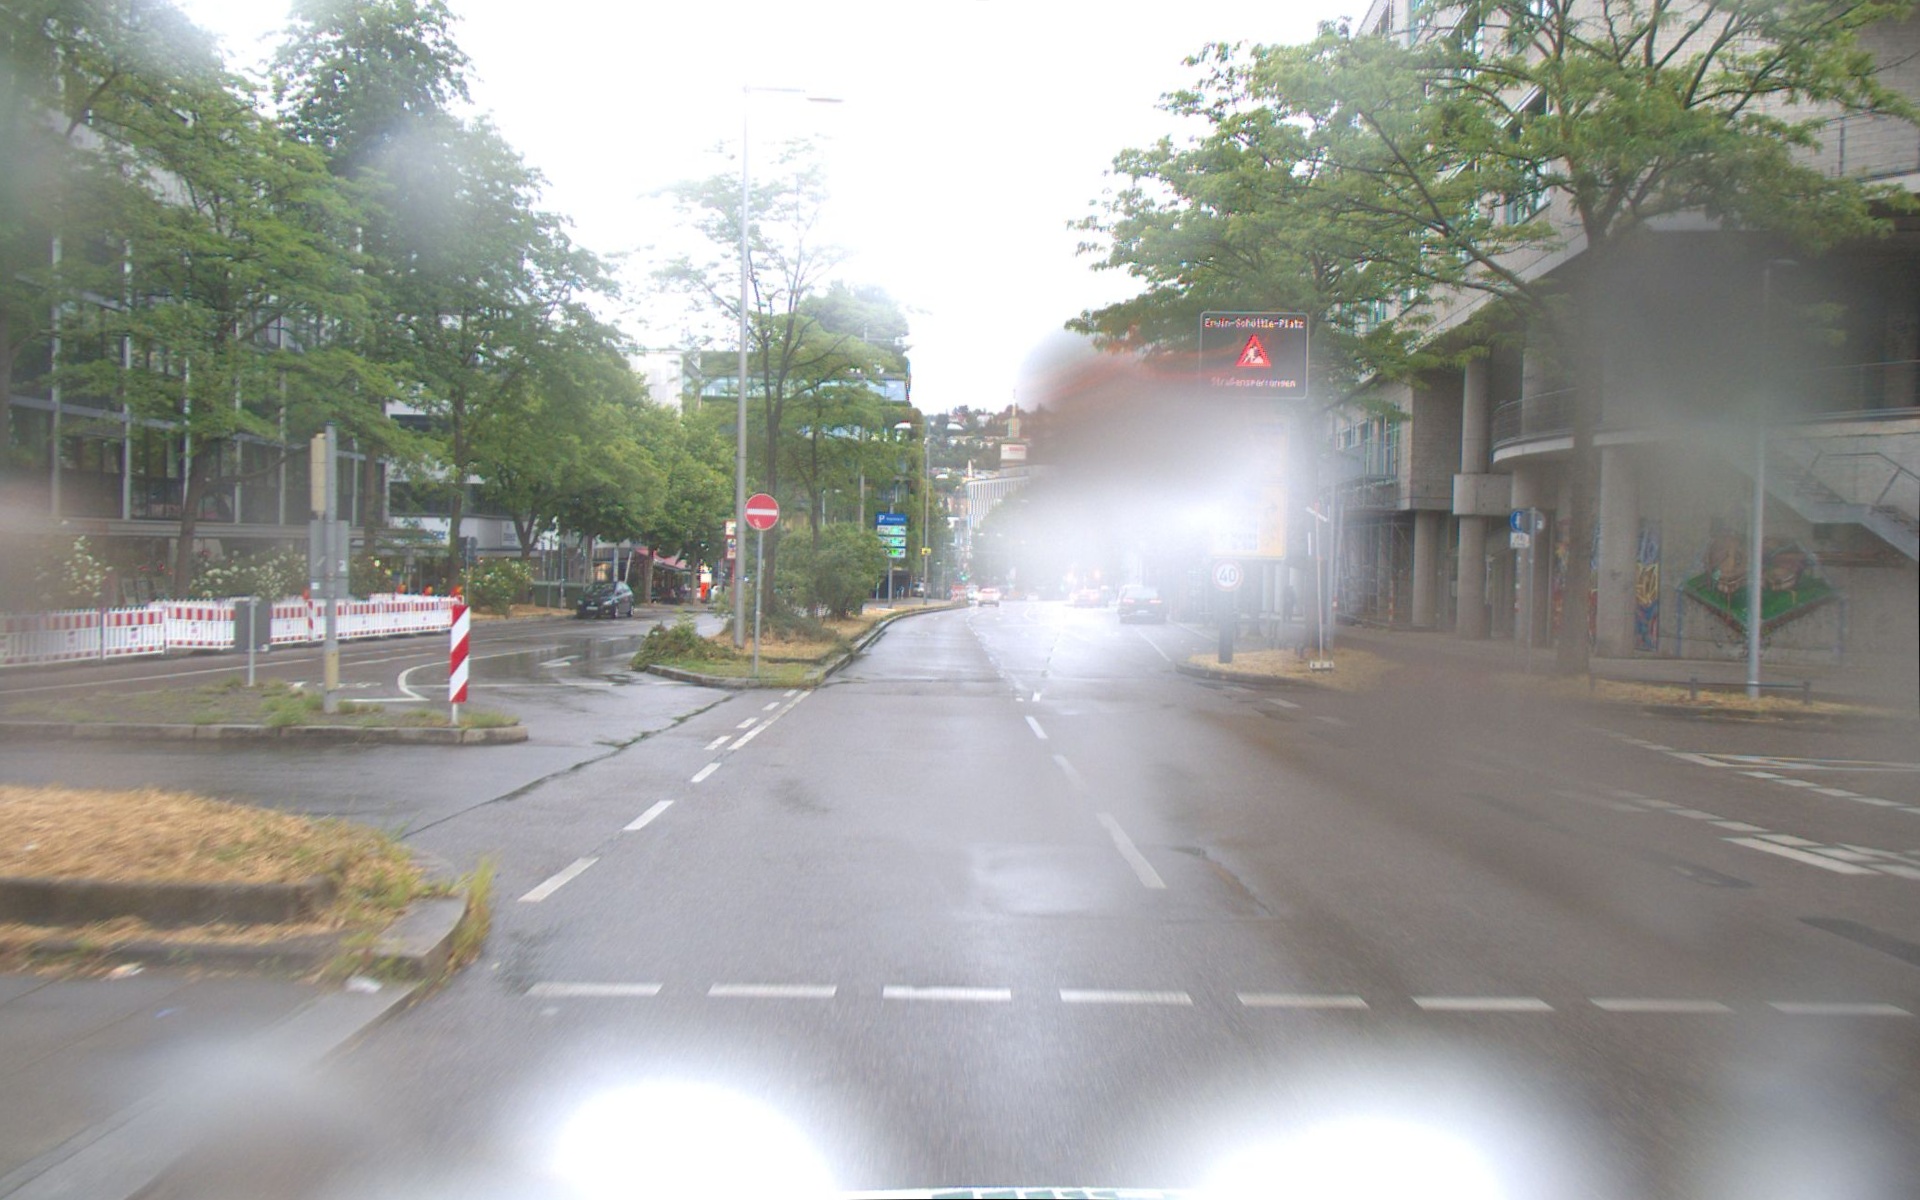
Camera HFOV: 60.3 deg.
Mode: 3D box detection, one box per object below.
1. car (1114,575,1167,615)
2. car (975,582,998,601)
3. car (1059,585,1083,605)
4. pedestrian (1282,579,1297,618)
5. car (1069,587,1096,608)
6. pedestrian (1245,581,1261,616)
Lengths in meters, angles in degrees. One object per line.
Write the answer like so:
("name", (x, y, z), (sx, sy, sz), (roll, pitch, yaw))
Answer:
("car", (7.990, -0.219, 73.225), (2.288, 1.721, 4.003), (0, 0, 6))
("car", (2.408, -0.765, 151.720), (1.792, 1.668, 4.298), (2, 0, -3))
("car", (10.513, -0.477, 156.647), (1.953, 1.766, 3.999), (0, -1, -1))
("pedestrian", (16.754, -0.088, 84.076), (0.759, 1.954, 0.703), (0, -1, 9))
("car", (10.781, -0.226, 145.516), (1.953, 1.754, 3.999), (0, -1, -1))
("pedestrian", (16.587, -0.079, 93.557), (0.759, 1.954, 0.702), (0, -1, -1))
